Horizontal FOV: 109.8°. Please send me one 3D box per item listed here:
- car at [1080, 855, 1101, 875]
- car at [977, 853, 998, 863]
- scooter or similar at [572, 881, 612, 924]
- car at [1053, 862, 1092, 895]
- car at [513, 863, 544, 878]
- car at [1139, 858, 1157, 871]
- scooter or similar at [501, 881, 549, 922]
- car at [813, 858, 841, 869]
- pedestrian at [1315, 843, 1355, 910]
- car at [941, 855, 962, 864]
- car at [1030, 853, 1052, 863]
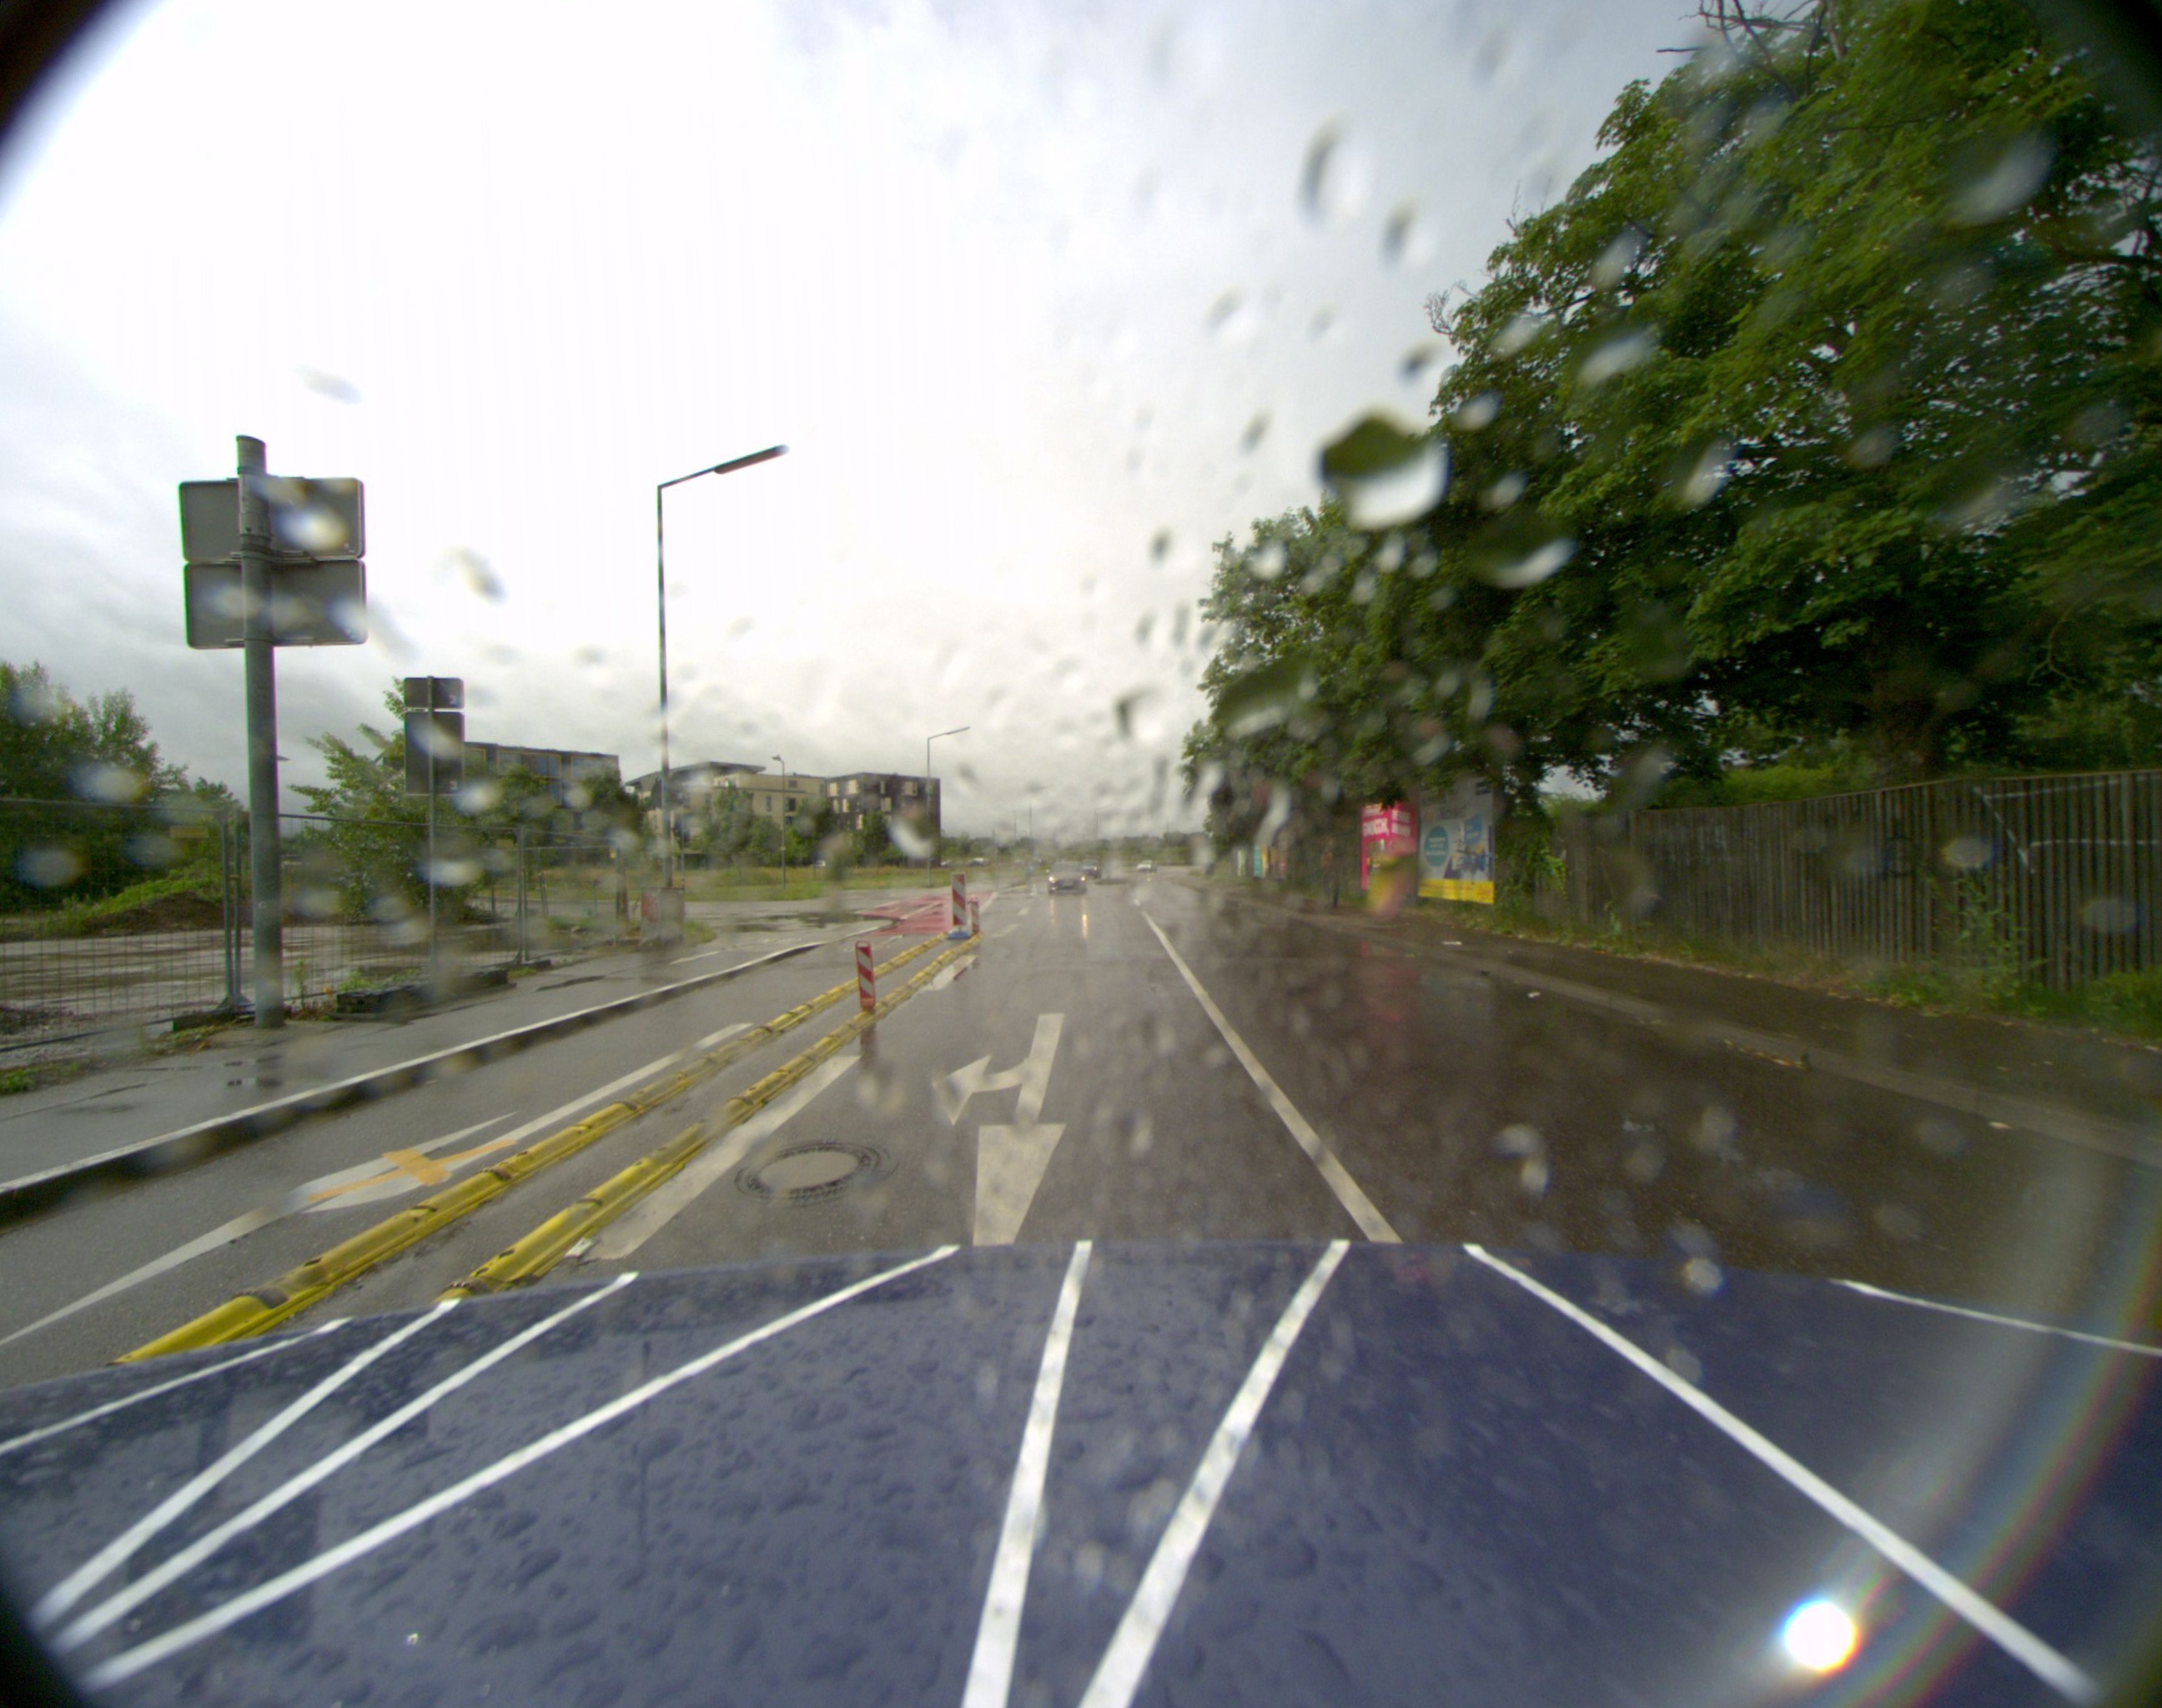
[{"bbox_3d":[0.864,0.919,66.263,1.647,1.623,3.669,-1,0,4],"label":"car"},{"bbox_3d":[-19.895,0.802,161.429,4.008,2.002,1.994,-1,0,-43],"label":"car"},{"bbox_3d":[-13.673,1.335,21.241,1.191,1.143,0.484,-1,1,34],"label":"scooter or similar"},{"bbox_3d":[-0.441,1.120,36.184,1.724,1.423,3.818,-1,0,-2],"label":"car"},{"bbox_3d":[-60.777,1.811,83.624,3.658,1.573,1.652,-1,0,35],"label":"car"},{"bbox_3d":[8.950,1.428,101.432,1.795,1.623,3.822,-1,0,14],"label":"car"},{"bbox_3d":[-16.325,1.385,22.301,1.191,1.143,0.748,-1,0,34],"label":"scooter or similar"},{"bbox_3d":[-36.338,1.333,108.842,1.644,1.573,3.674,-1,0,24],"label":"car"},{"bbox_3d":[6.702,0.585,20.073,0.841,1.759,0.644,0,1,1],"label":"pedestrian"},{"bbox_3d":[-25.973,1.083,152.422,3.657,1.601,1.596,-1,0,-40],"label":"car"},{"bbox_3d":[-7.939,0.778,150.368,3.989,2.002,2.004,-1,0,43],"label":"car"}]
